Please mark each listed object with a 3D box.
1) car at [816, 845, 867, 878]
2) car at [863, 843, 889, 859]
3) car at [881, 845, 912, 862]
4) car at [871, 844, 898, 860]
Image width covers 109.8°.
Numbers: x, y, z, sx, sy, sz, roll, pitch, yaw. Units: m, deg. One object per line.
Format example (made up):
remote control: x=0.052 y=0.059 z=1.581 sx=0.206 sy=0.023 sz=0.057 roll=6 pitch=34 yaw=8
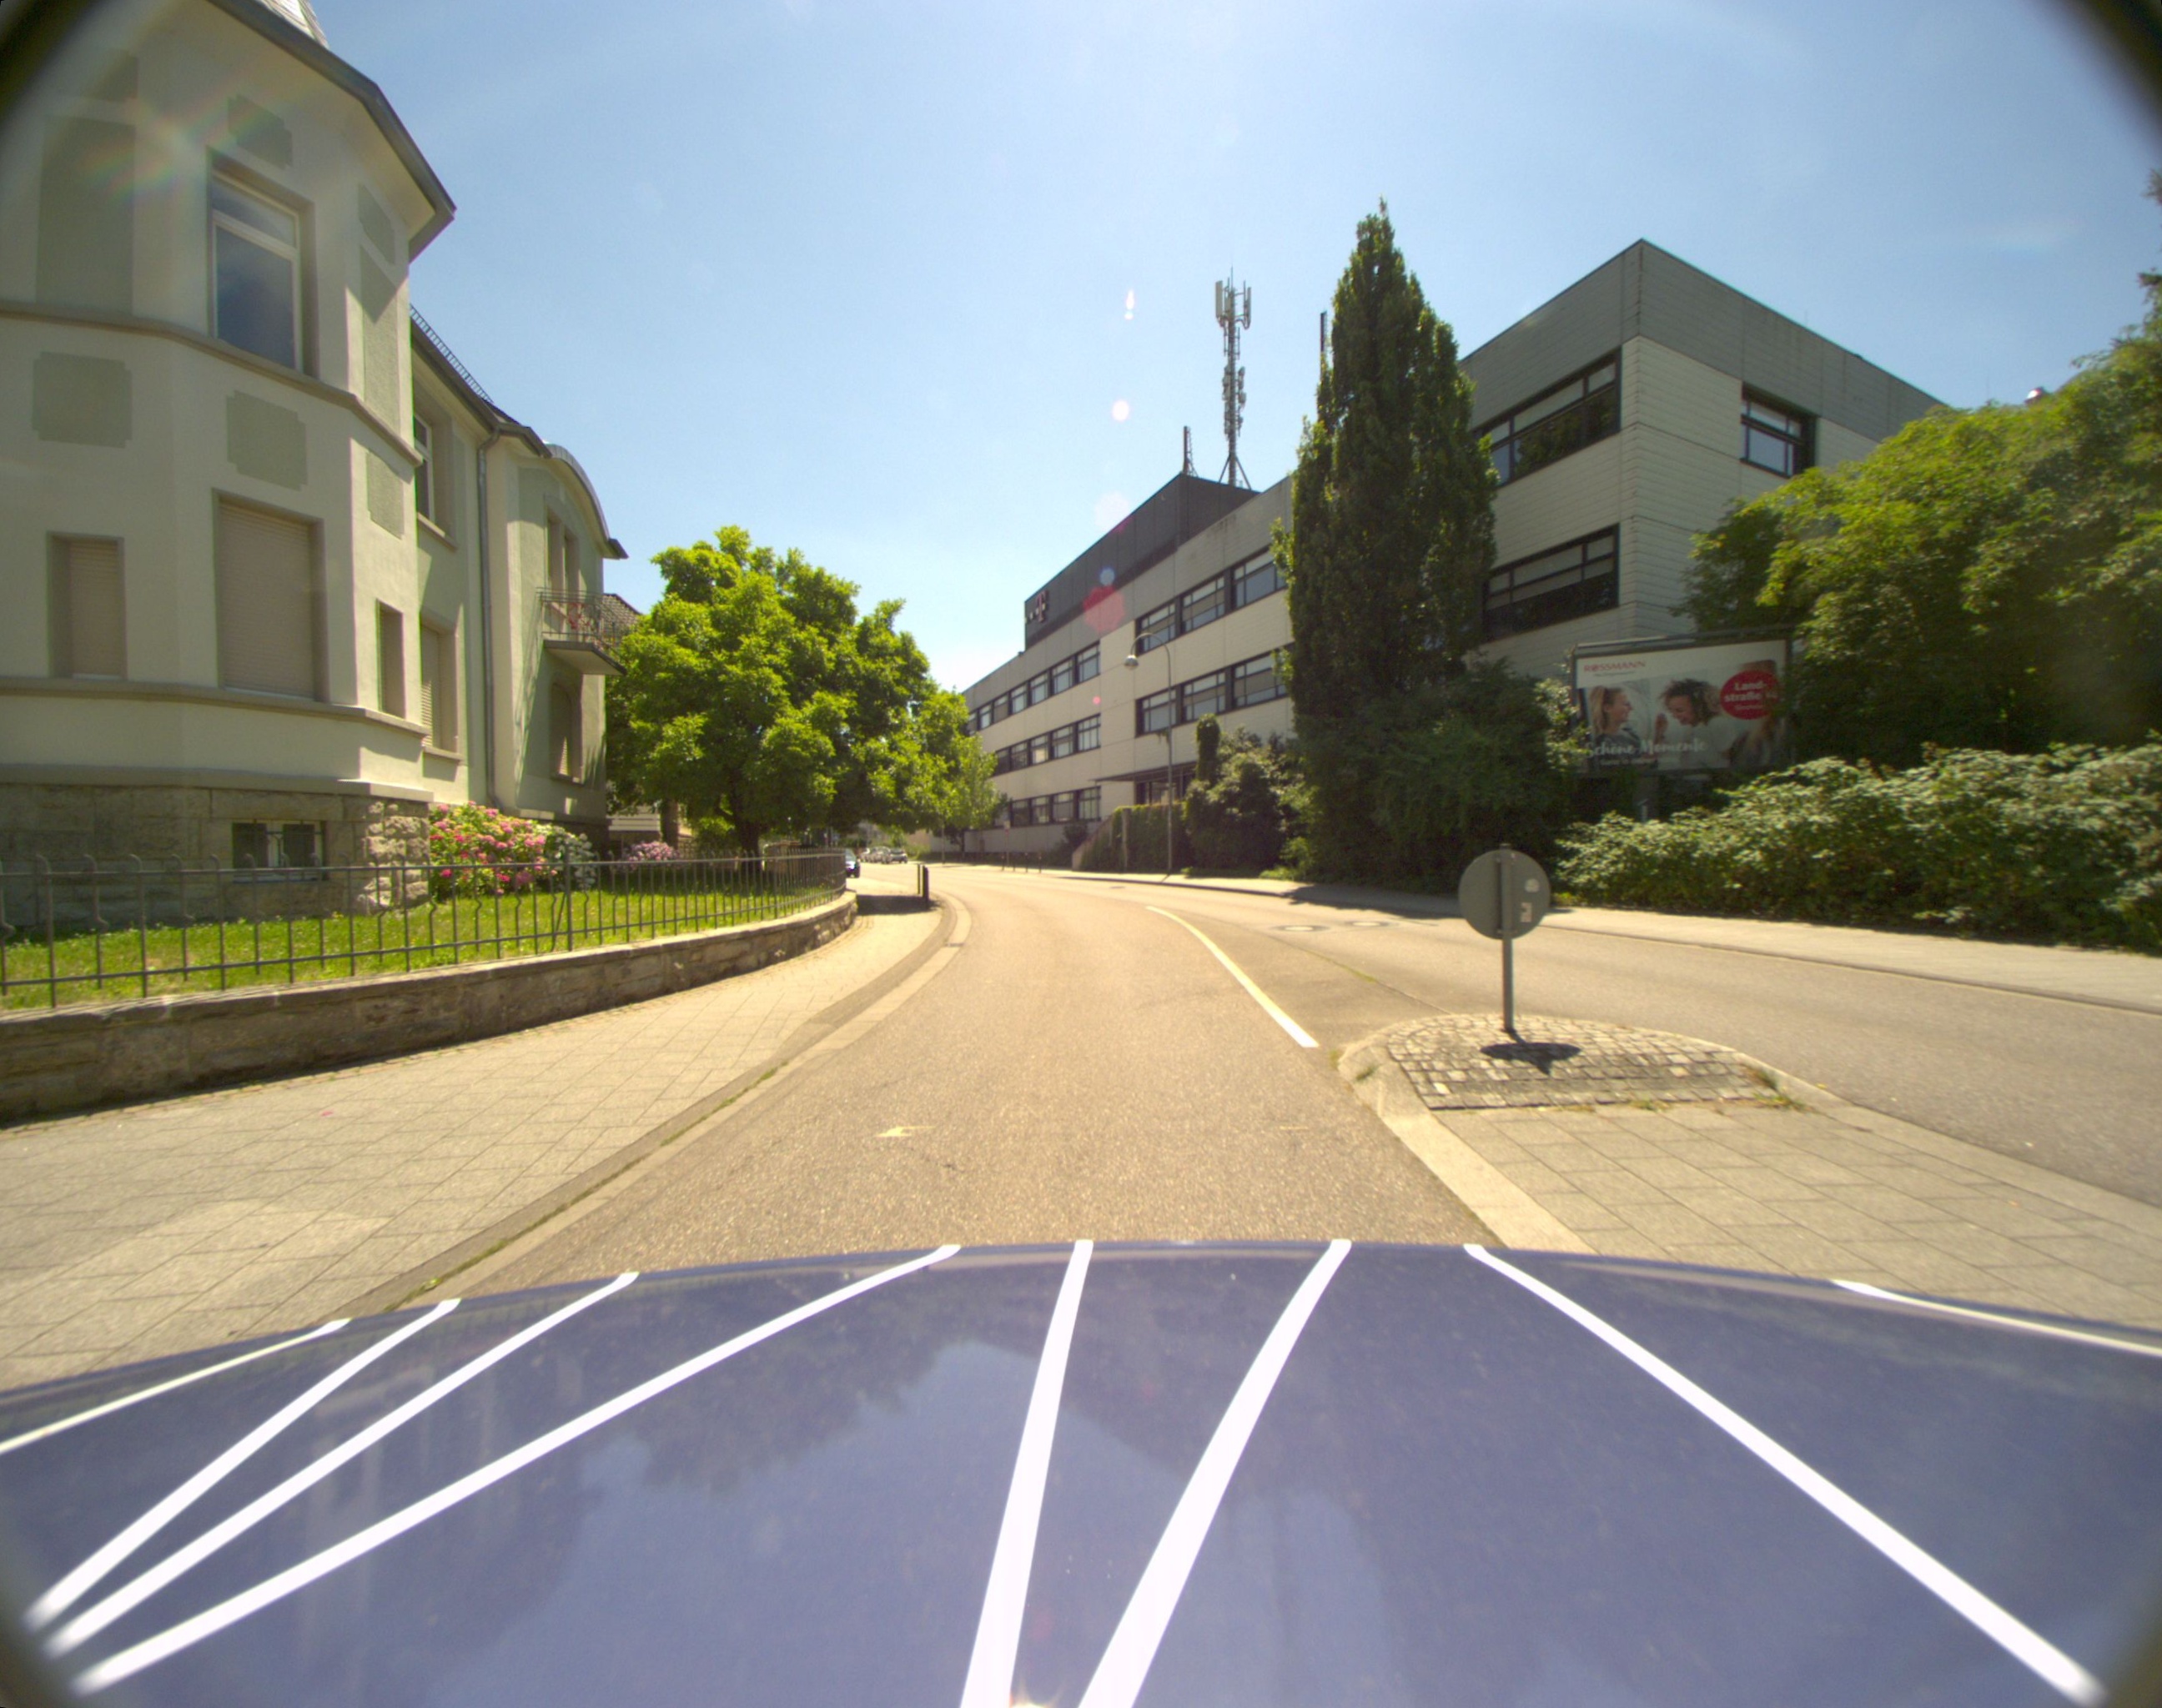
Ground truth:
car: x=-11.987 y=0.341 z=37.843 sx=1.777 sy=1.533 sz=3.991 roll=0 pitch=1 yaw=-27
car: x=-20.886 y=-0.305 z=77.206 sx=1.777 sy=1.533 sz=3.991 roll=-1 pitch=1 yaw=-27
car: x=-16.538 y=-0.072 z=67.899 sx=1.739 sy=1.441 sz=4.020 roll=-2 pitch=2 yaw=-27
car: x=-18.806 y=-0.230 z=72.735 sx=1.749 sy=1.494 sz=3.725 roll=-2 pitch=2 yaw=-27
